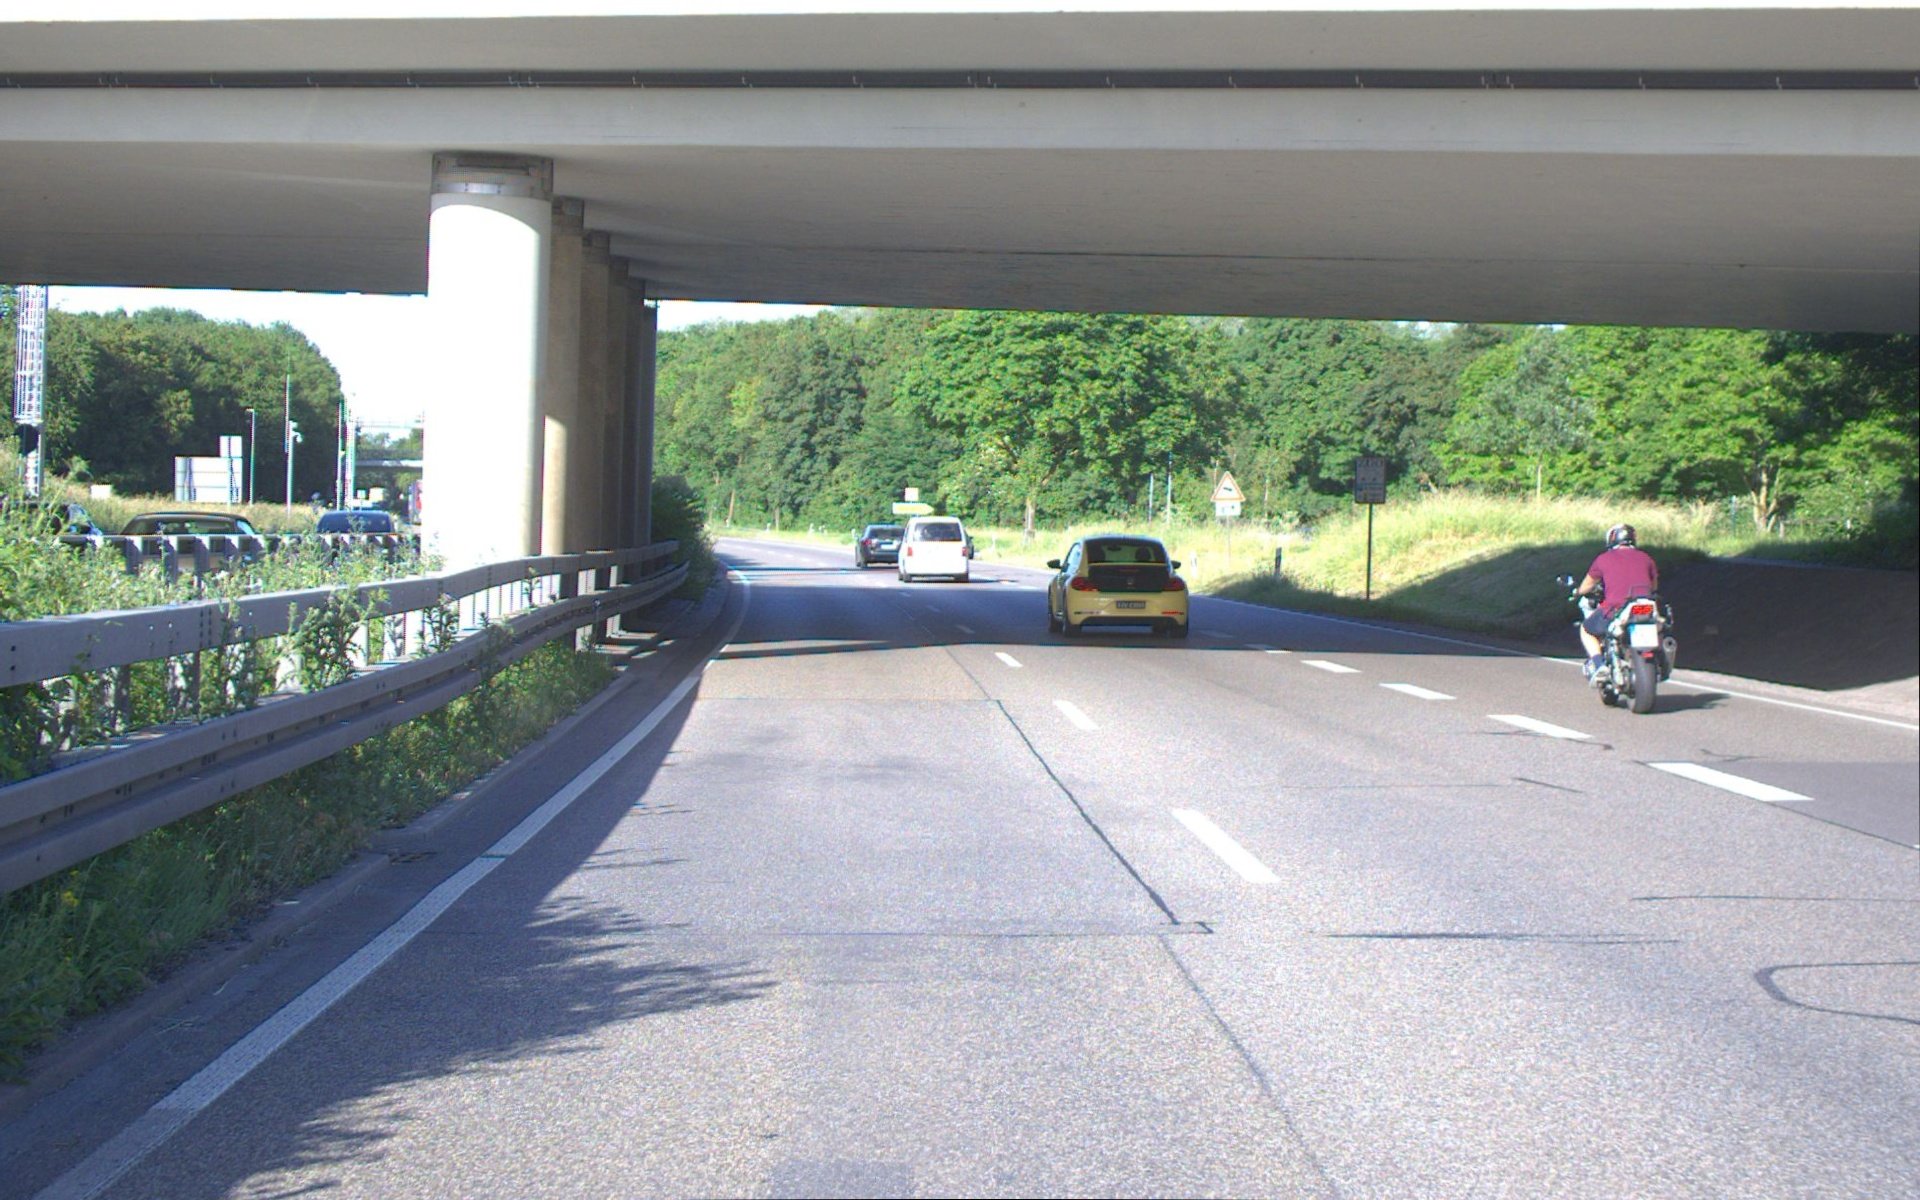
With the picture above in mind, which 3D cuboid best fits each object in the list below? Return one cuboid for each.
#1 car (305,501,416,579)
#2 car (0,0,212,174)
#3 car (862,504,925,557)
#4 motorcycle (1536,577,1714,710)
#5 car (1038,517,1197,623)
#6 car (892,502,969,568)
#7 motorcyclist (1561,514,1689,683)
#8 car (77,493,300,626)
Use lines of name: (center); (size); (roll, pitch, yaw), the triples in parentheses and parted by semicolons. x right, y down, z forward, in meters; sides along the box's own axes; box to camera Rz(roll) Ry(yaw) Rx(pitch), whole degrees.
car: (-12.142, -1.229, 69.826); (1.748, 1.500, 4.225); (1, 1, -4)
car: (-11.874, -6.900, 43.398); (4.314, 2.796, 2.079); (2, 1, 22)
car: (-2.300, -2.400, 117.852); (1.897, 1.761, 4.001); (0, 1, -5)
motorcycle: (5.829, 0.361, 30.312); (0.816, 1.066, 2.836); (1, 1, -4)
car: (2.273, -0.472, 50.501); (1.897, 1.466, 4.001); (0, 2, -4)
car: (-0.822, -1.763, 93.400); (1.897, 1.761, 4.001); (0, 1, -3)
motorcyclist: (5.843, -0.024, 30.255); (0.816, 1.442, 1.094); (1, 1, -4)
car: (-9.108, -0.501, 40.873); (1.761, 1.438, 4.110); (2, 1, -1)
